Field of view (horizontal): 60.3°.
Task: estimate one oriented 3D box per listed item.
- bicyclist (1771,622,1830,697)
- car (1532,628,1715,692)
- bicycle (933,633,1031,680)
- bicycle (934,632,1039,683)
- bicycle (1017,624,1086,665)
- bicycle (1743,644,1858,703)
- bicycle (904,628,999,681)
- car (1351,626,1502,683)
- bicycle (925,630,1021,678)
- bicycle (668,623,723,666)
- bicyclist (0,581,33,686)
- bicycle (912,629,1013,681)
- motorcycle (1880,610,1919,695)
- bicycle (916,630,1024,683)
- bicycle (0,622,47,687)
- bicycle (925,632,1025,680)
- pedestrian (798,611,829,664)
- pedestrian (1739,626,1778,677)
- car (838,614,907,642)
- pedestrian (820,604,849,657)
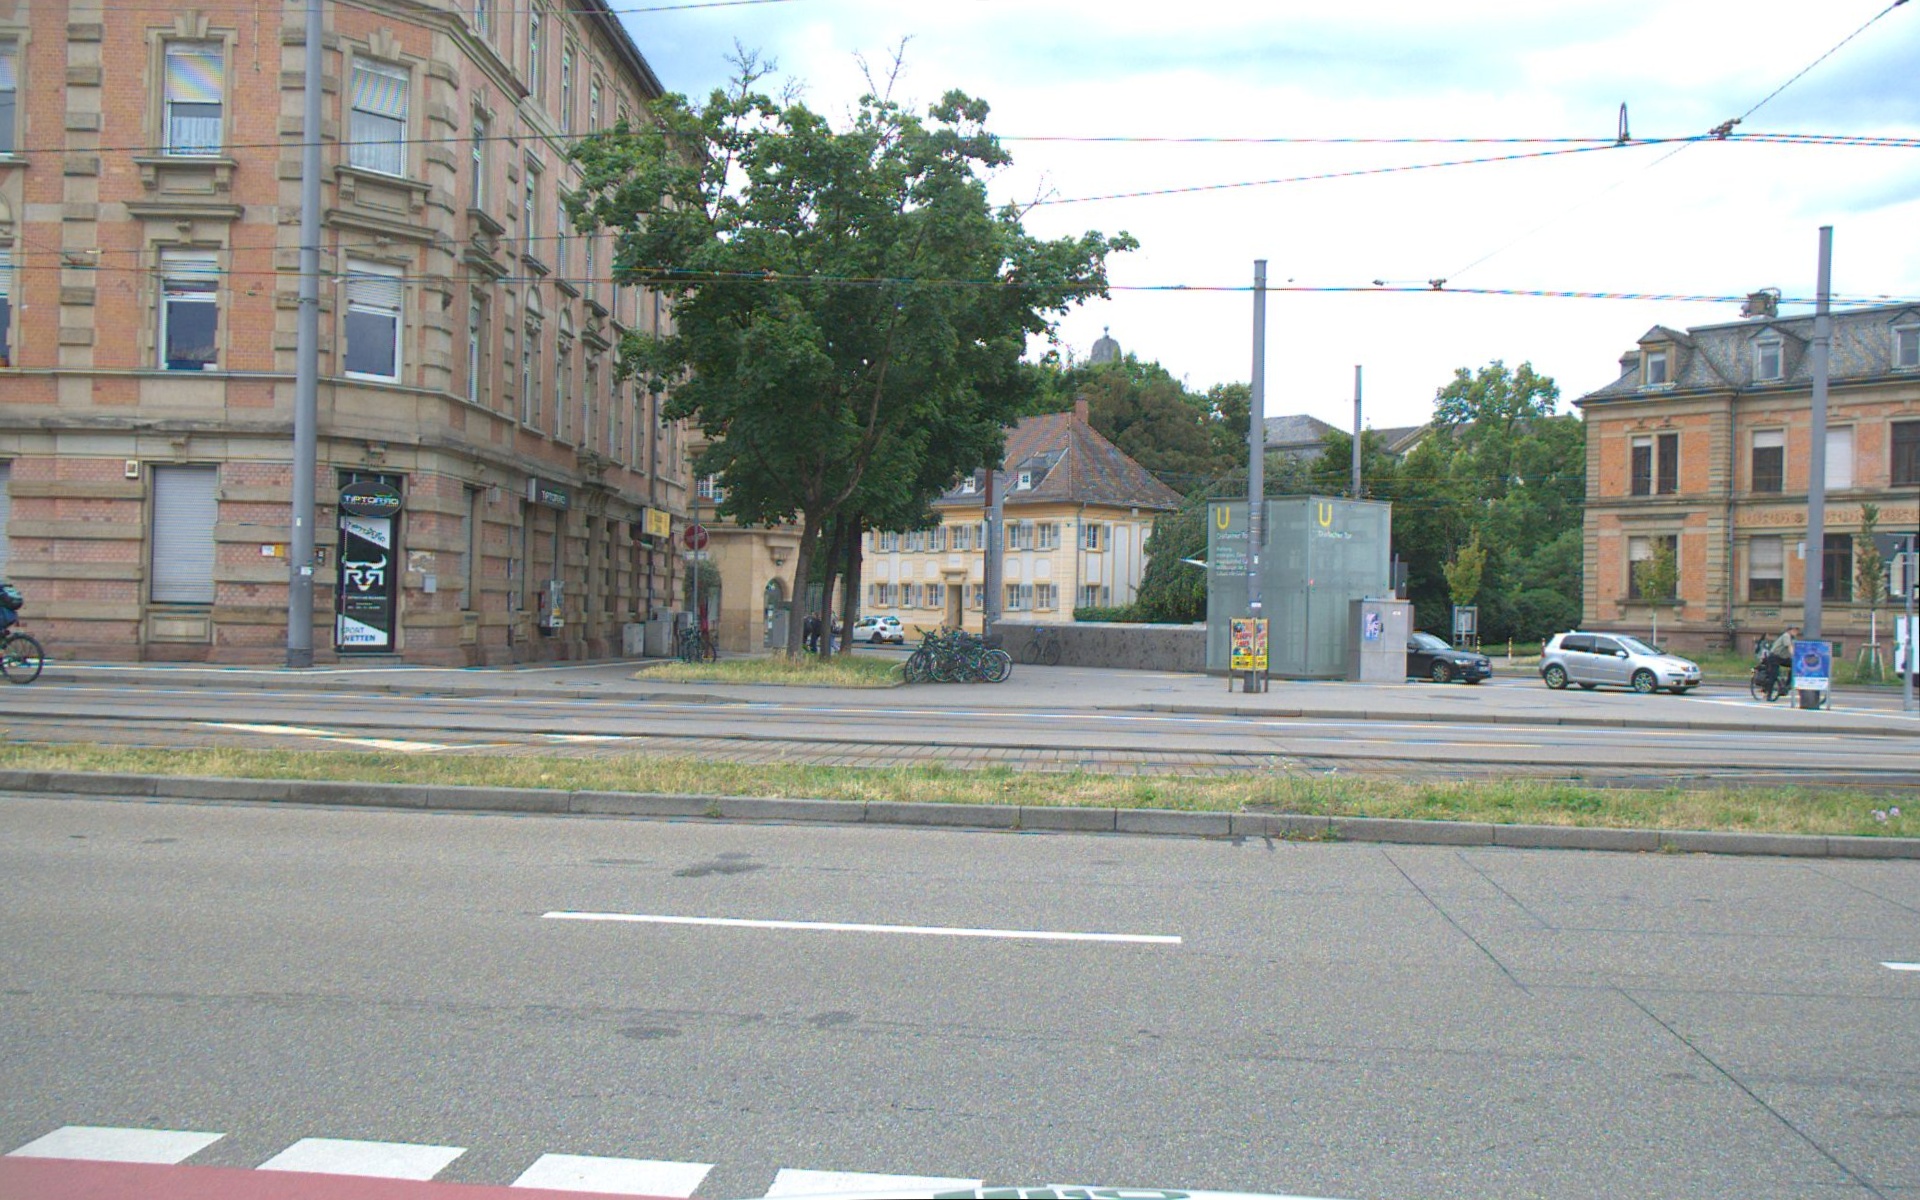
[{"bbox_3d":[18.948,1.338,37.297,0.846,1.651,0.905,2,-2,-37],"label":"bicyclist"},{"bbox_3d":[17.078,1.507,42.707,1.742,1.479,4.107,1,-1,-37],"label":"car"},{"bbox_3d":[0.509,1.284,37.981,2.166,1.004,0.585,1,0,12],"label":"bicycle"},{"bbox_3d":[0.561,1.206,35.056,2.166,1.004,0.500,1,0,12],"label":"bicycle"},{"bbox_3d":[2.676,1.293,48.686,0.731,1.134,2.334,1,0,-35],"label":"bicycle"},{"bbox_3d":[18.934,1.639,37.293,0.848,1.229,2.169,2,-1,-37],"label":"bicycle"},{"bbox_3d":[-0.169,1.092,33.061,1.823,1.004,0.500,1,-1,11],"label":"bicycle"},{"bbox_3d":[13.313,1.521,47.411,1.675,1.474,4.097,1,0,-32],"label":"car"},{"bbox_3d":[0.302,1.270,39.249,2.166,1.057,0.689,1,0,12],"label":"bicycle"},{"bbox_3d":[-6.053,1.001,37.987,0.646,0.930,1.991,1,0,9],"label":"bicycle"},{"bbox_3d":[-14.325,0.479,24.370,0.920,1.520,0.663,1,0,-1],"label":"bicyclist"},{"bbox_3d":[0.052,1.115,33.790,1.988,1.004,0.522,1,0,12],"label":"bicycle"},{"bbox_3d":[24.389,1.300,39.736,1.679,2.049,3.636,1,-1,-38],"label":"motorcycle"},{"bbox_3d":[0.206,1.161,34.335,2.166,1.024,0.480,1,0,12],"label":"bicycle"},{"bbox_3d":[-14.471,0.787,24.364,1.679,0.931,0.607,1,0,-2],"label":"bicycle"},{"bbox_3d":[0.346,1.241,36.997,2.166,1.004,0.500,1,0,12],"label":"bicycle"},{"bbox_3d":[-4.869,1.240,55.013,0.826,1.753,0.953,1,0,6],"label":"pedestrian"},{"bbox_3d":[28.764,1.834,59.559,1.106,1.794,0.754,1,-1,41],"label":"pedestrian"},{"bbox_3d":[-4.864,1.546,91.890,1.681,1.474,4.126,1,0,-40],"label":"car"},{"bbox_3d":[-4.267,1.022,56.253,0.826,1.753,0.953,1,0,6],"label":"pedestrian"}]
